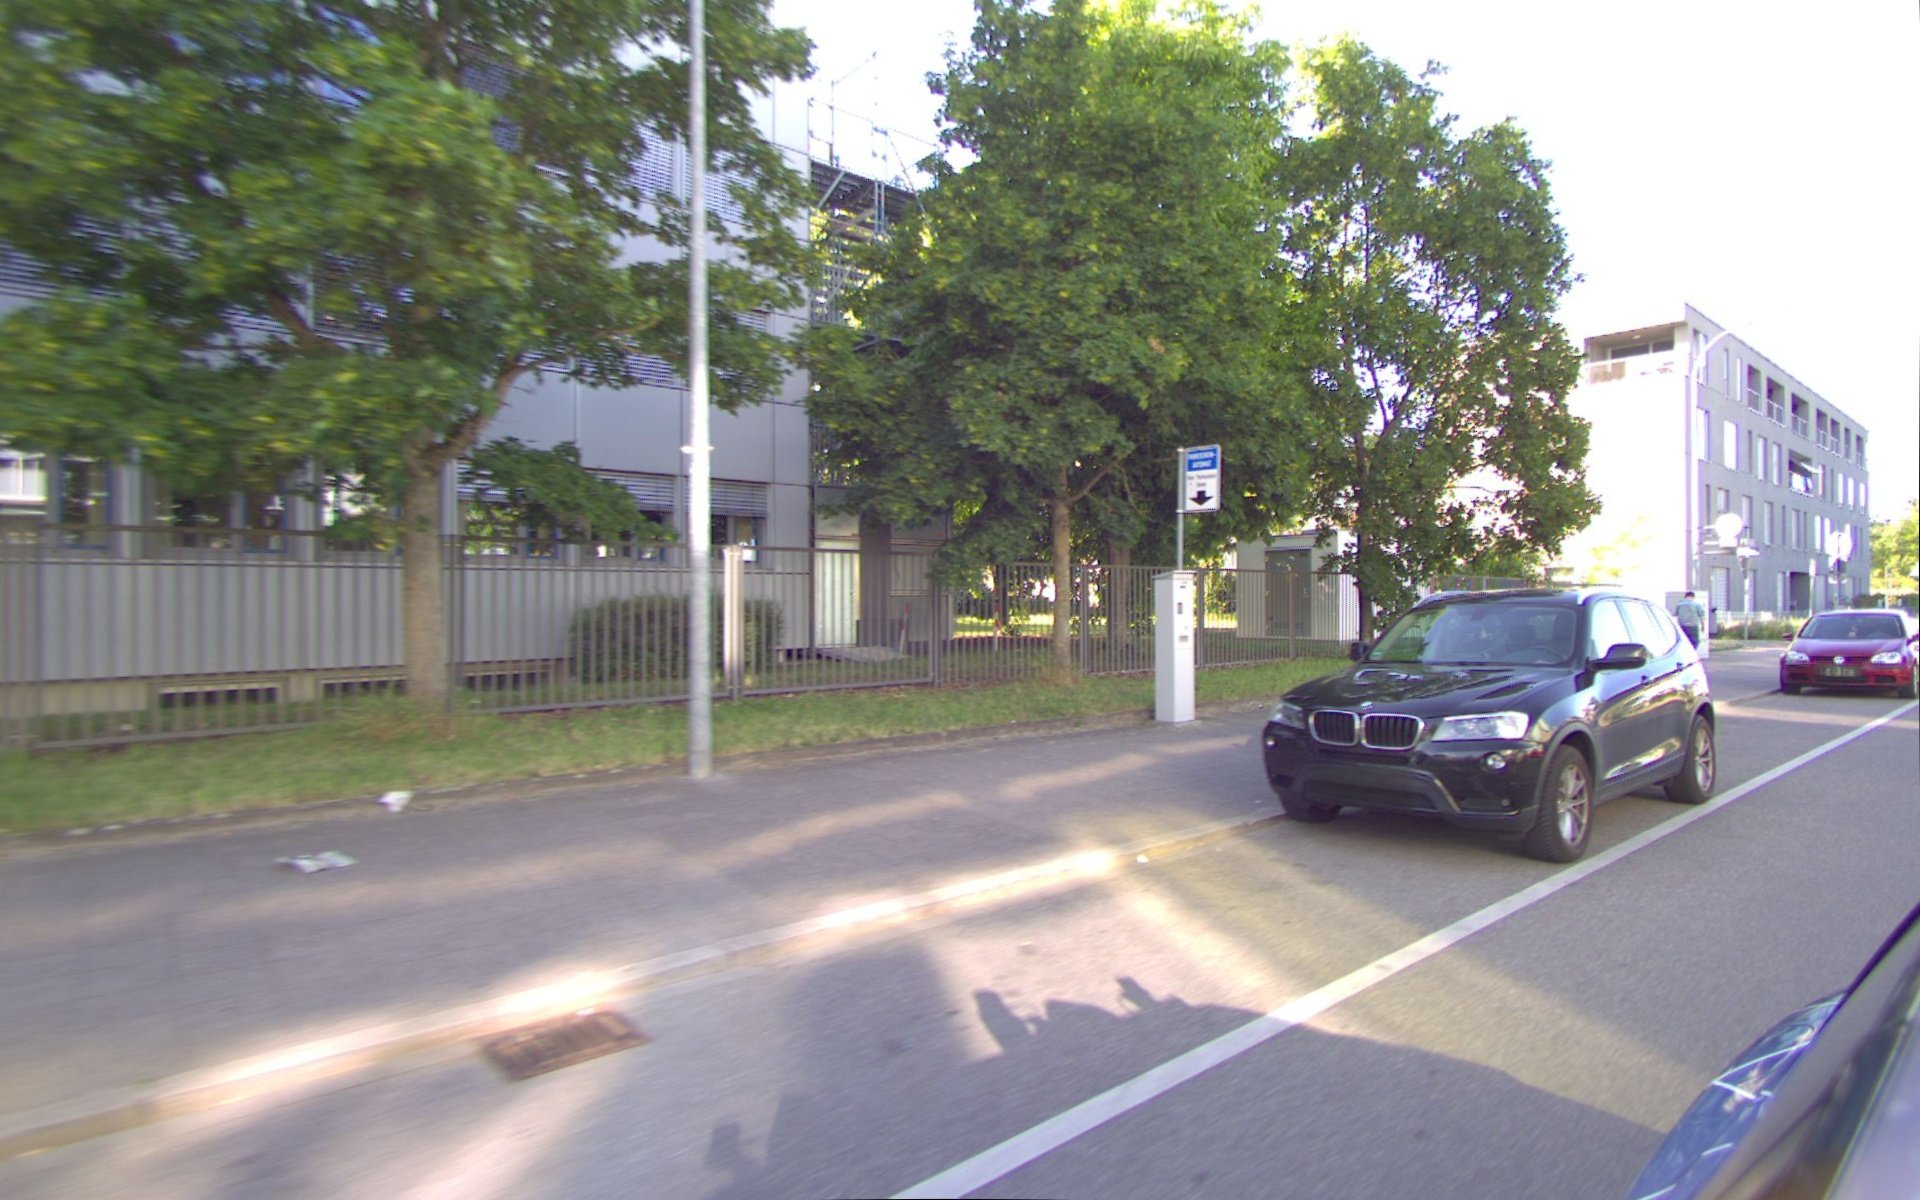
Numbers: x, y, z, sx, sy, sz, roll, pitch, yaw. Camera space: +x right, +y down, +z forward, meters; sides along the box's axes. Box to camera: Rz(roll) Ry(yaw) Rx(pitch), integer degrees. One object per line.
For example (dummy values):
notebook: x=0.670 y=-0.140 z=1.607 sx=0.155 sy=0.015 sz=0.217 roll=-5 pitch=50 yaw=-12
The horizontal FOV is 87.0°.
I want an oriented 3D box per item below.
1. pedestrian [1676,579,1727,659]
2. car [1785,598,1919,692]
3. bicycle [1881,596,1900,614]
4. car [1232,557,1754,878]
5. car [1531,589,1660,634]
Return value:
pedestrian: x=17.059 y=0.411 z=23.289 sx=0.869 sy=1.780 sz=0.719 roll=0 pitch=2 yaw=-40
car: x=16.282 y=0.716 z=18.020 sx=4.571 sy=1.473 sz=1.722 roll=0 pitch=-1 yaw=-41
bicycle: x=58.392 y=0.320 z=63.515 sx=1.808 sy=1.075 sz=0.553 roll=0 pitch=-1 yaw=-37
car: x=4.127 y=0.654 z=7.490 sx=4.510 sy=1.688 sz=1.815 roll=1 pitch=-2 yaw=-40
car: x=22.318 y=0.363 z=35.641 sx=1.571 sy=1.504 sz=3.554 roll=0 pitch=0 yaw=-39
